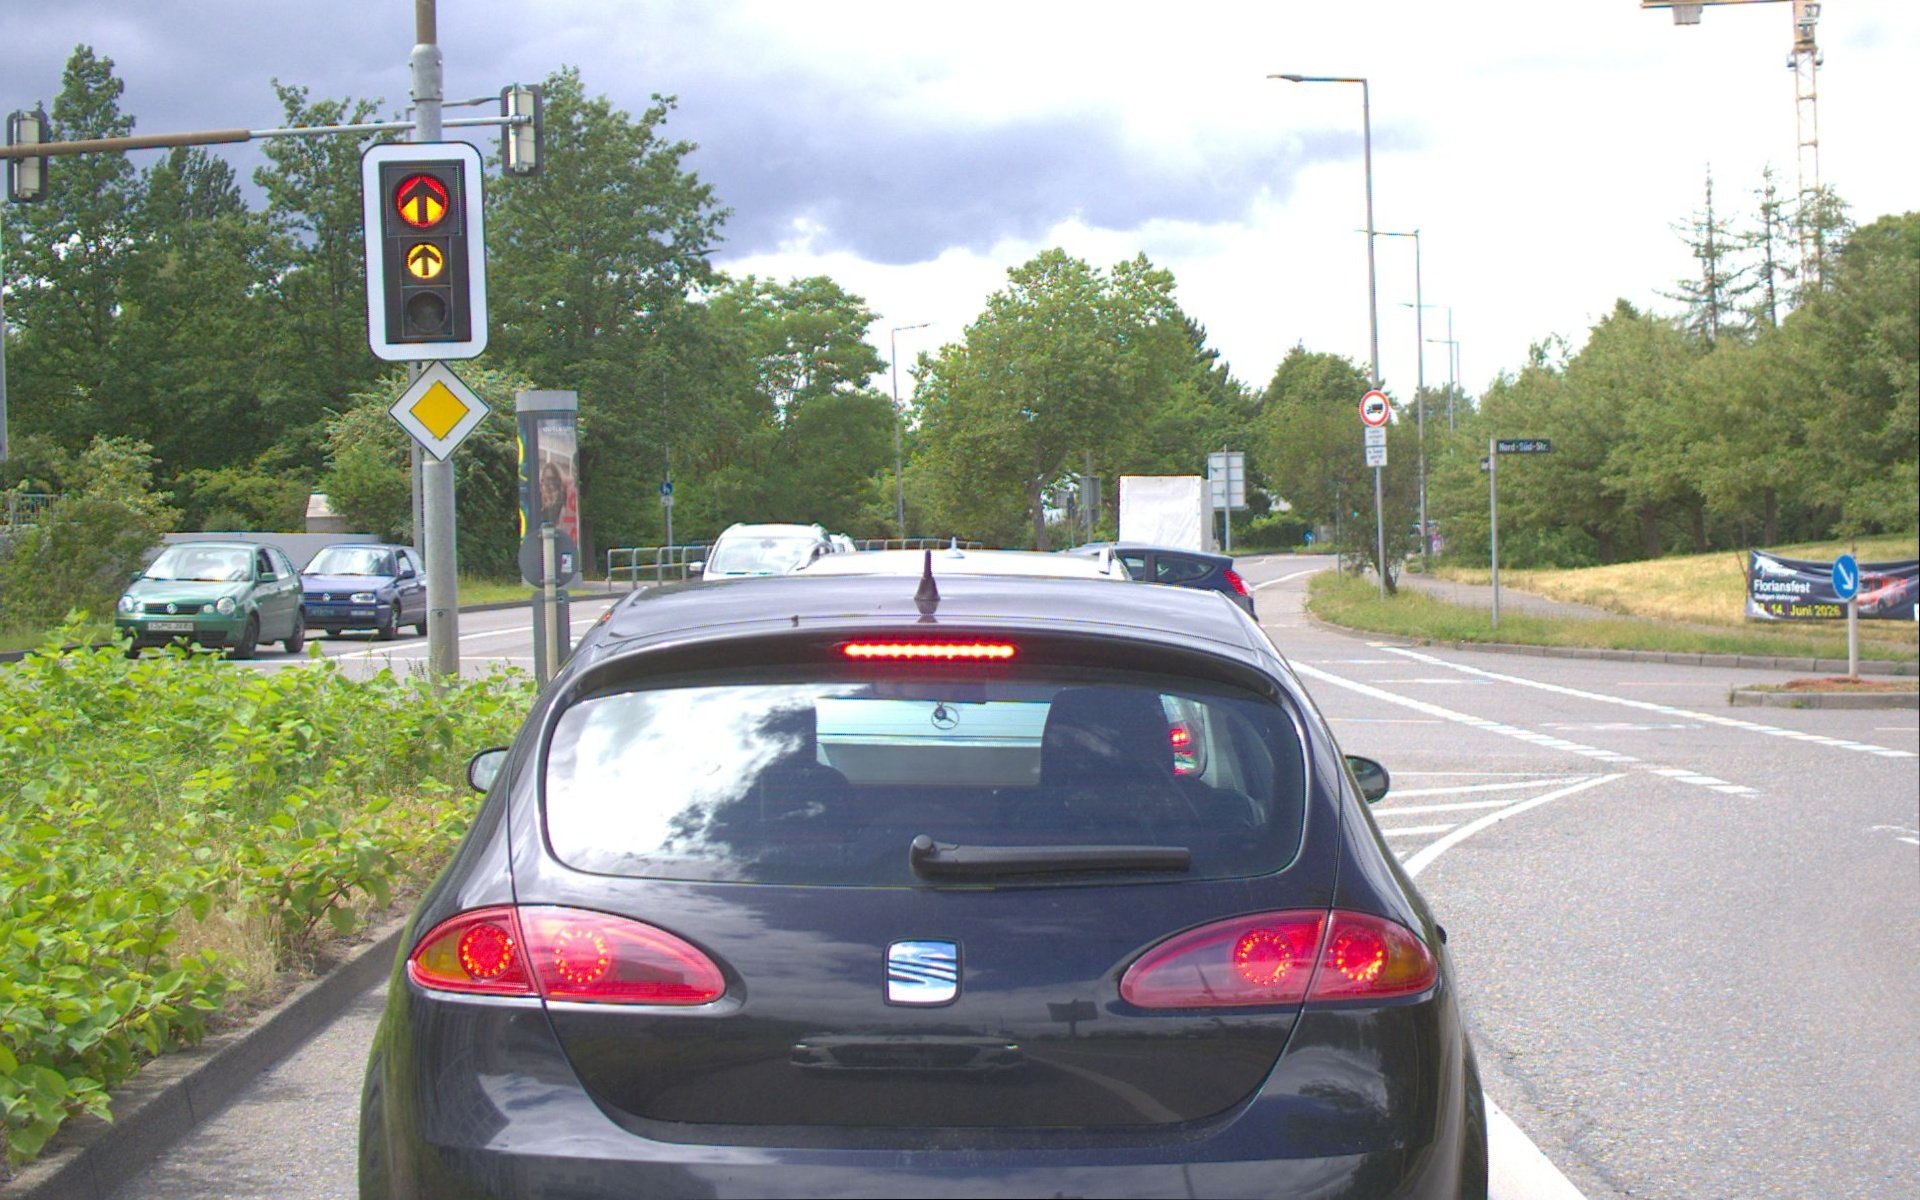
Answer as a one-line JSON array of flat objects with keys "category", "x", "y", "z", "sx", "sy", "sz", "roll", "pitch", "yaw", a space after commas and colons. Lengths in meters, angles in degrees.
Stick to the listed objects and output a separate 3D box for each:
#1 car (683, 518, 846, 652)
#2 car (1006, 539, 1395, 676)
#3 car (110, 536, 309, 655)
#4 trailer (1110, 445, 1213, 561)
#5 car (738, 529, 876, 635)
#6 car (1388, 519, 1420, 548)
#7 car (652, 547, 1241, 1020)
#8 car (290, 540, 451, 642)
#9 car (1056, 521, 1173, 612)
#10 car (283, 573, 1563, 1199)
[{"category": "car", "x": -2.572, "y": -0.247, "z": 46.208, "sx": 1.820, "sy": 1.681, "sz": 4.645, "roll": 1, "pitch": 1, "yaw": 1}, {"category": "car", "x": 2.626, "y": 0.081, "z": 37.784, "sx": 3.878, "sy": 1.441, "sz": 1.760, "roll": 1, "pitch": 1, "yaw": -16}, {"category": "car", "x": -9.432, "y": -0.094, "z": 43.453, "sx": 1.605, "sy": 1.427, "sz": 3.752, "roll": 0, "pitch": 1, "yaw": 2}, {"category": "trailer", "x": 5.610, "y": -2.633, "z": 95.071, "sx": 2.492, "sy": 3.063, "sz": 5.585, "roll": 1, "pitch": 1, "yaw": 6}, {"category": "car", "x": -2.290, "y": -0.301, "z": 52.287, "sx": 1.660, "sy": 1.513, "sz": 4.084, "roll": 1, "pitch": 1, "yaw": 3}, {"category": "car", "x": 24.927, "y": -3.714, "z": 192.960, "sx": 1.668, "sy": 1.590, "sz": 3.998, "roll": 1, "pitch": 1, "yaw": 9}, {"category": "car", "x": -0.024, "y": 0.559, "z": 12.698, "sx": 1.834, "sy": 1.462, "sz": 3.751, "roll": 1, "pitch": 1, "yaw": 1}, {"category": "car", "x": -8.755, "y": -0.164, "z": 51.318, "sx": 1.554, "sy": 1.414, "sz": 3.895, "roll": 0, "pitch": 1, "yaw": 3}, {"category": "car", "x": 2.781, "y": -0.625, "z": 61.443, "sx": 1.994, "sy": 1.560, "sz": 4.470, "roll": 0, "pitch": 1, "yaw": 3}, {"category": "car", "x": -0.067, "y": 0.687, "z": 6.351, "sx": 1.711, "sy": 1.412, "sz": 3.459, "roll": 1, "pitch": 1, "yaw": 0}]
